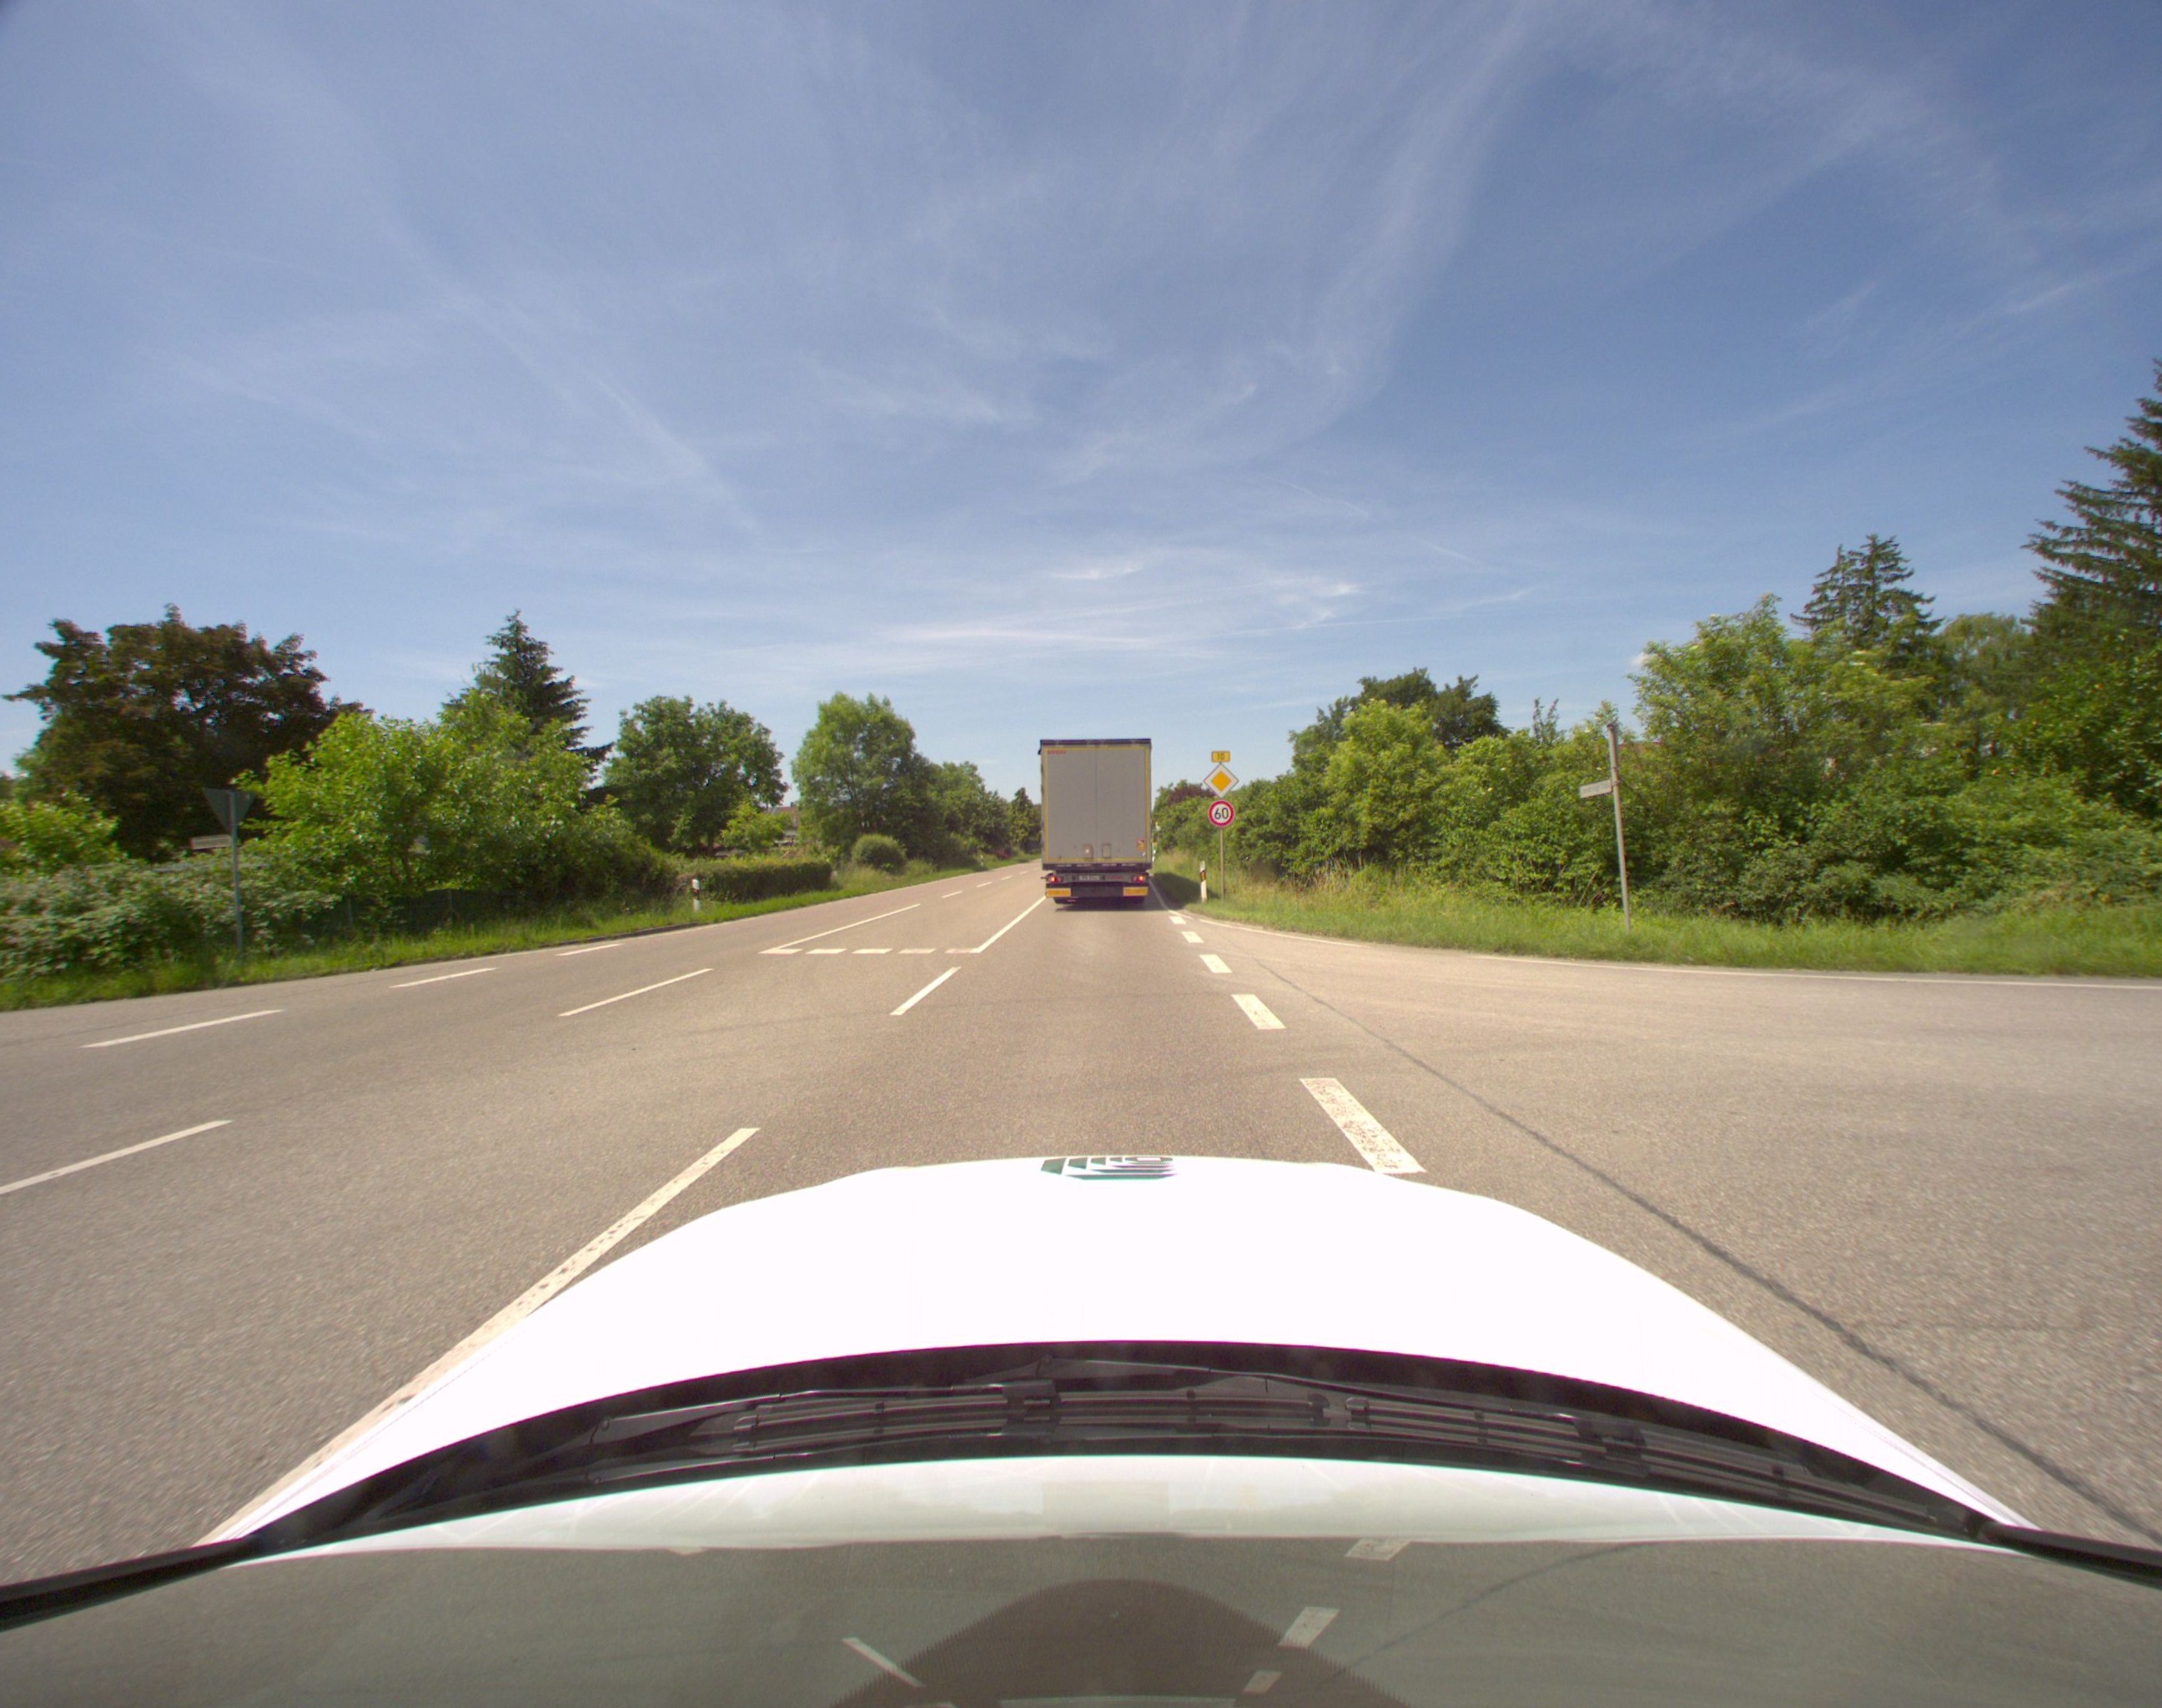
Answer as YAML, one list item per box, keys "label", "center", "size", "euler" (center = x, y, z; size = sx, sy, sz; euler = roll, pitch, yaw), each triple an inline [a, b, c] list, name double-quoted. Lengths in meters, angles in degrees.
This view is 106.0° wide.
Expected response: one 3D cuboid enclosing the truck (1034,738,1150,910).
- label: "truck"
  center: [0.456, -0.756, 23.088]
  size: [2.637, 3.916, 8.831]
  euler: [0, 1, 3]
